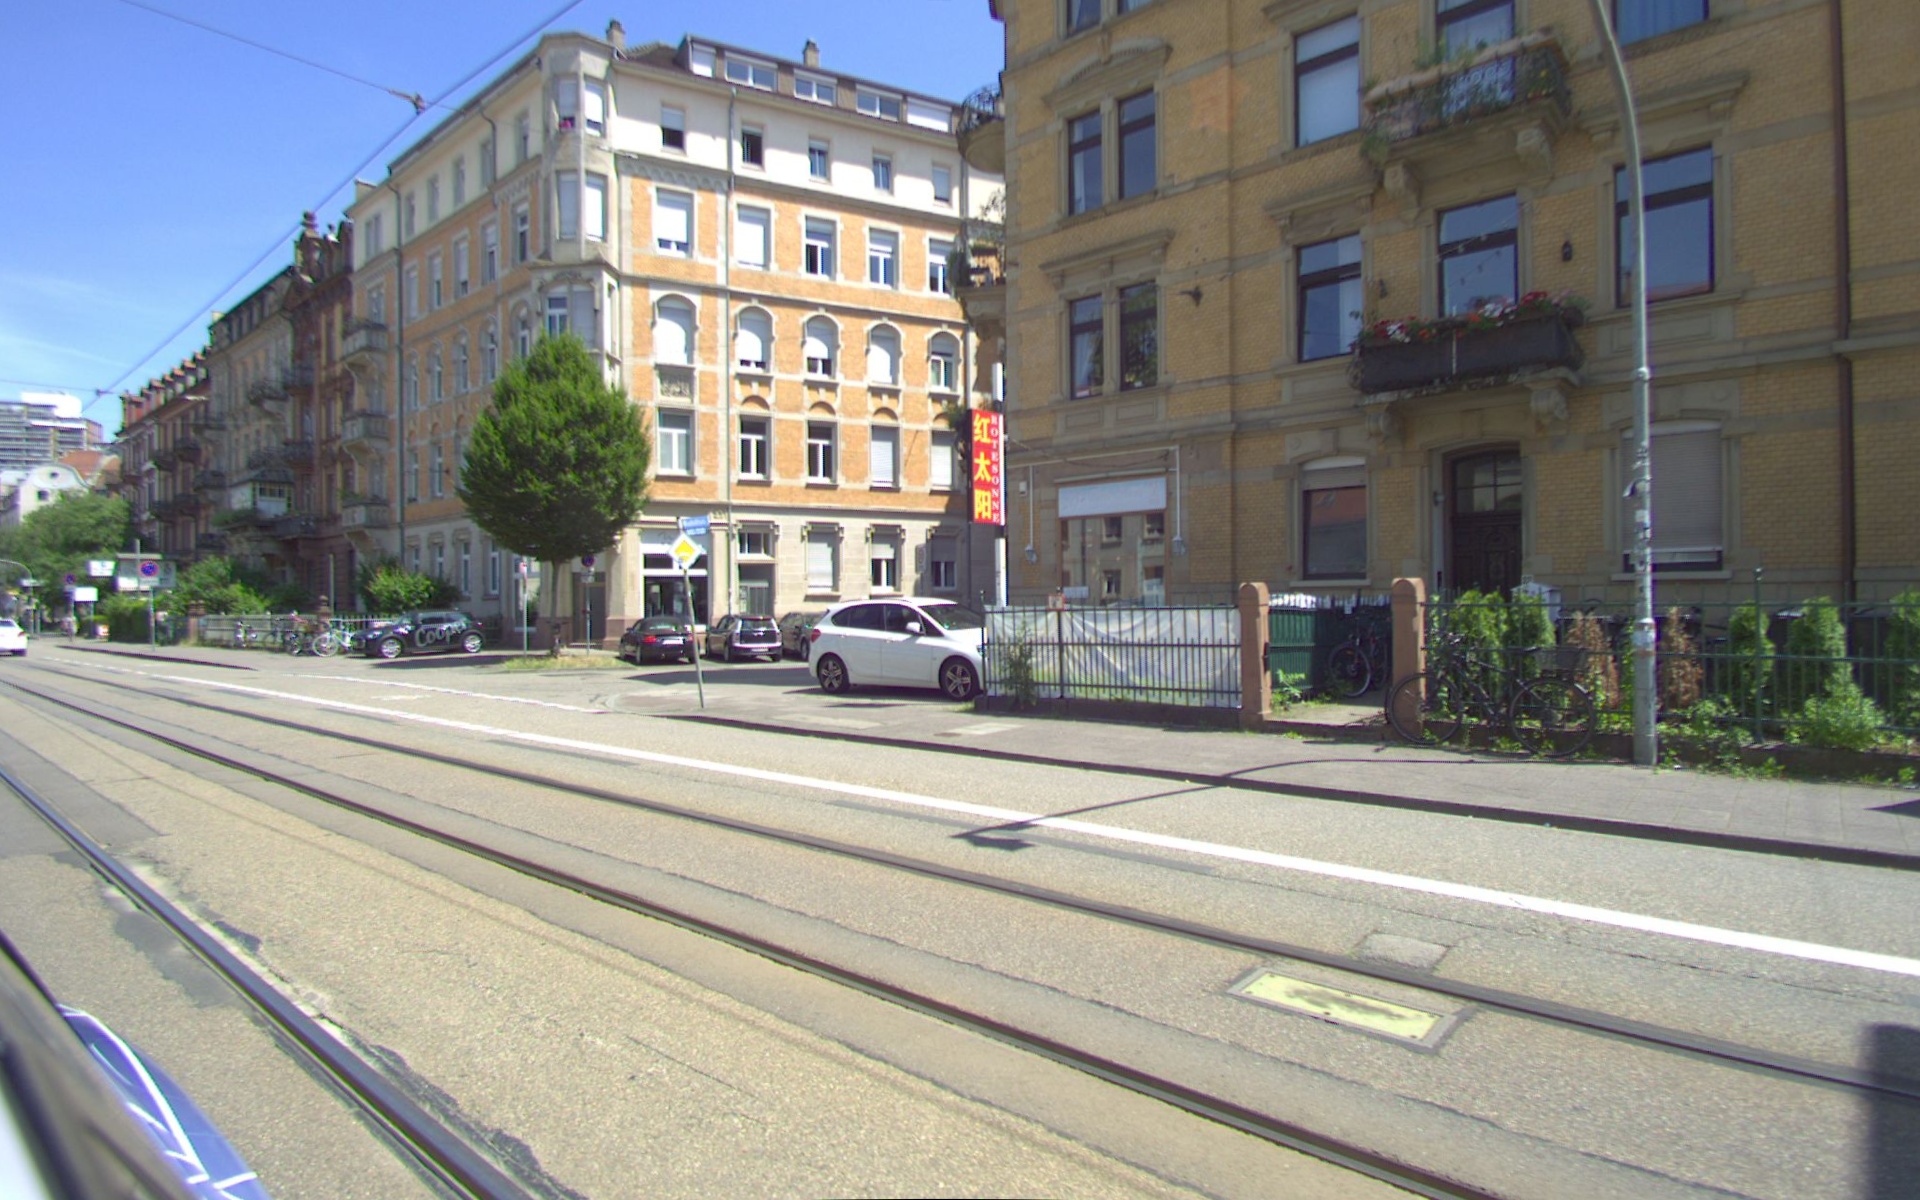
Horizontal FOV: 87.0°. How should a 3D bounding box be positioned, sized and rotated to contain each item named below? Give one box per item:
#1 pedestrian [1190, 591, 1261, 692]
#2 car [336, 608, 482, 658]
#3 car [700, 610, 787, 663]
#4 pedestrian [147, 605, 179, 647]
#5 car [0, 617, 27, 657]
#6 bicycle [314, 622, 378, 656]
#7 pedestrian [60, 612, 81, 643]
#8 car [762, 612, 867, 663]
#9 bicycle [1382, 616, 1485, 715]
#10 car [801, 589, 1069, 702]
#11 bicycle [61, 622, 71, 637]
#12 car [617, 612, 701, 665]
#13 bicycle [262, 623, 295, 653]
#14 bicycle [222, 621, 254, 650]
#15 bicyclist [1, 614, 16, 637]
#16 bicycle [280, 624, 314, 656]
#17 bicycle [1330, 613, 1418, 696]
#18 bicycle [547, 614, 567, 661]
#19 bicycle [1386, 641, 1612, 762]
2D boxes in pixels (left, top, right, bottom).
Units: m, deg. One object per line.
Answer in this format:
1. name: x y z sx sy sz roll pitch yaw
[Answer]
1. pedestrian: 3.581 0.560 13.658 0.710 1.308 0.703 -2 -3 37
2. car: -17.380 0.991 32.051 1.713 1.439 3.720 0 0 41
3. car: -6.755 1.075 31.296 1.603 1.450 3.784 1 1 -29
4. pedestrian: -34.606 1.115 43.955 1.138 1.736 0.842 -1 1 42
5. car: -36.402 1.366 37.925 3.999 1.435 1.737 -1 -2 42
6. bicycle: -19.664 1.236 32.435 1.685 1.045 0.551 0 -1 -45
7. pedestrian: -50.370 1.550 57.286 0.861 1.713 1.014 1 -1 -43
8. car: -4.717 1.134 32.174 1.716 1.375 4.841 1 1 -29
9. bicycle: 5.306 0.690 11.295 0.474 1.011 1.760 -1 -1 44
10. car: -0.471 0.678 16.539 4.094 1.612 1.849 -1 0 36
11. bicycle: -62.657 2.079 70.929 1.565 1.064 0.454 -1 -1 44
12. car: -8.945 1.101 29.912 1.603 1.349 3.784 1 1 -29
13. bicycle: -22.887 1.263 33.980 1.709 0.991 0.434 -1 -1 40
14. bicycle: -26.700 1.314 37.431 1.709 0.994 0.491 -1 3 40
15. bicyclist: -65.830 1.771 69.990 1.028 1.596 0.627 -1 -3 41
16. bicycle: -21.363 1.280 32.622 1.709 0.991 0.434 -1 -1 40
17. bicycle: 5.426 0.683 13.222 0.474 1.011 1.686 -1 -1 44
18. bicycle: -11.379 1.036 28.587 0.493 1.237 1.856 1 1 -21
19. bicycle: 4.998 0.904 9.467 1.804 1.011 0.449 -1 -1 38
